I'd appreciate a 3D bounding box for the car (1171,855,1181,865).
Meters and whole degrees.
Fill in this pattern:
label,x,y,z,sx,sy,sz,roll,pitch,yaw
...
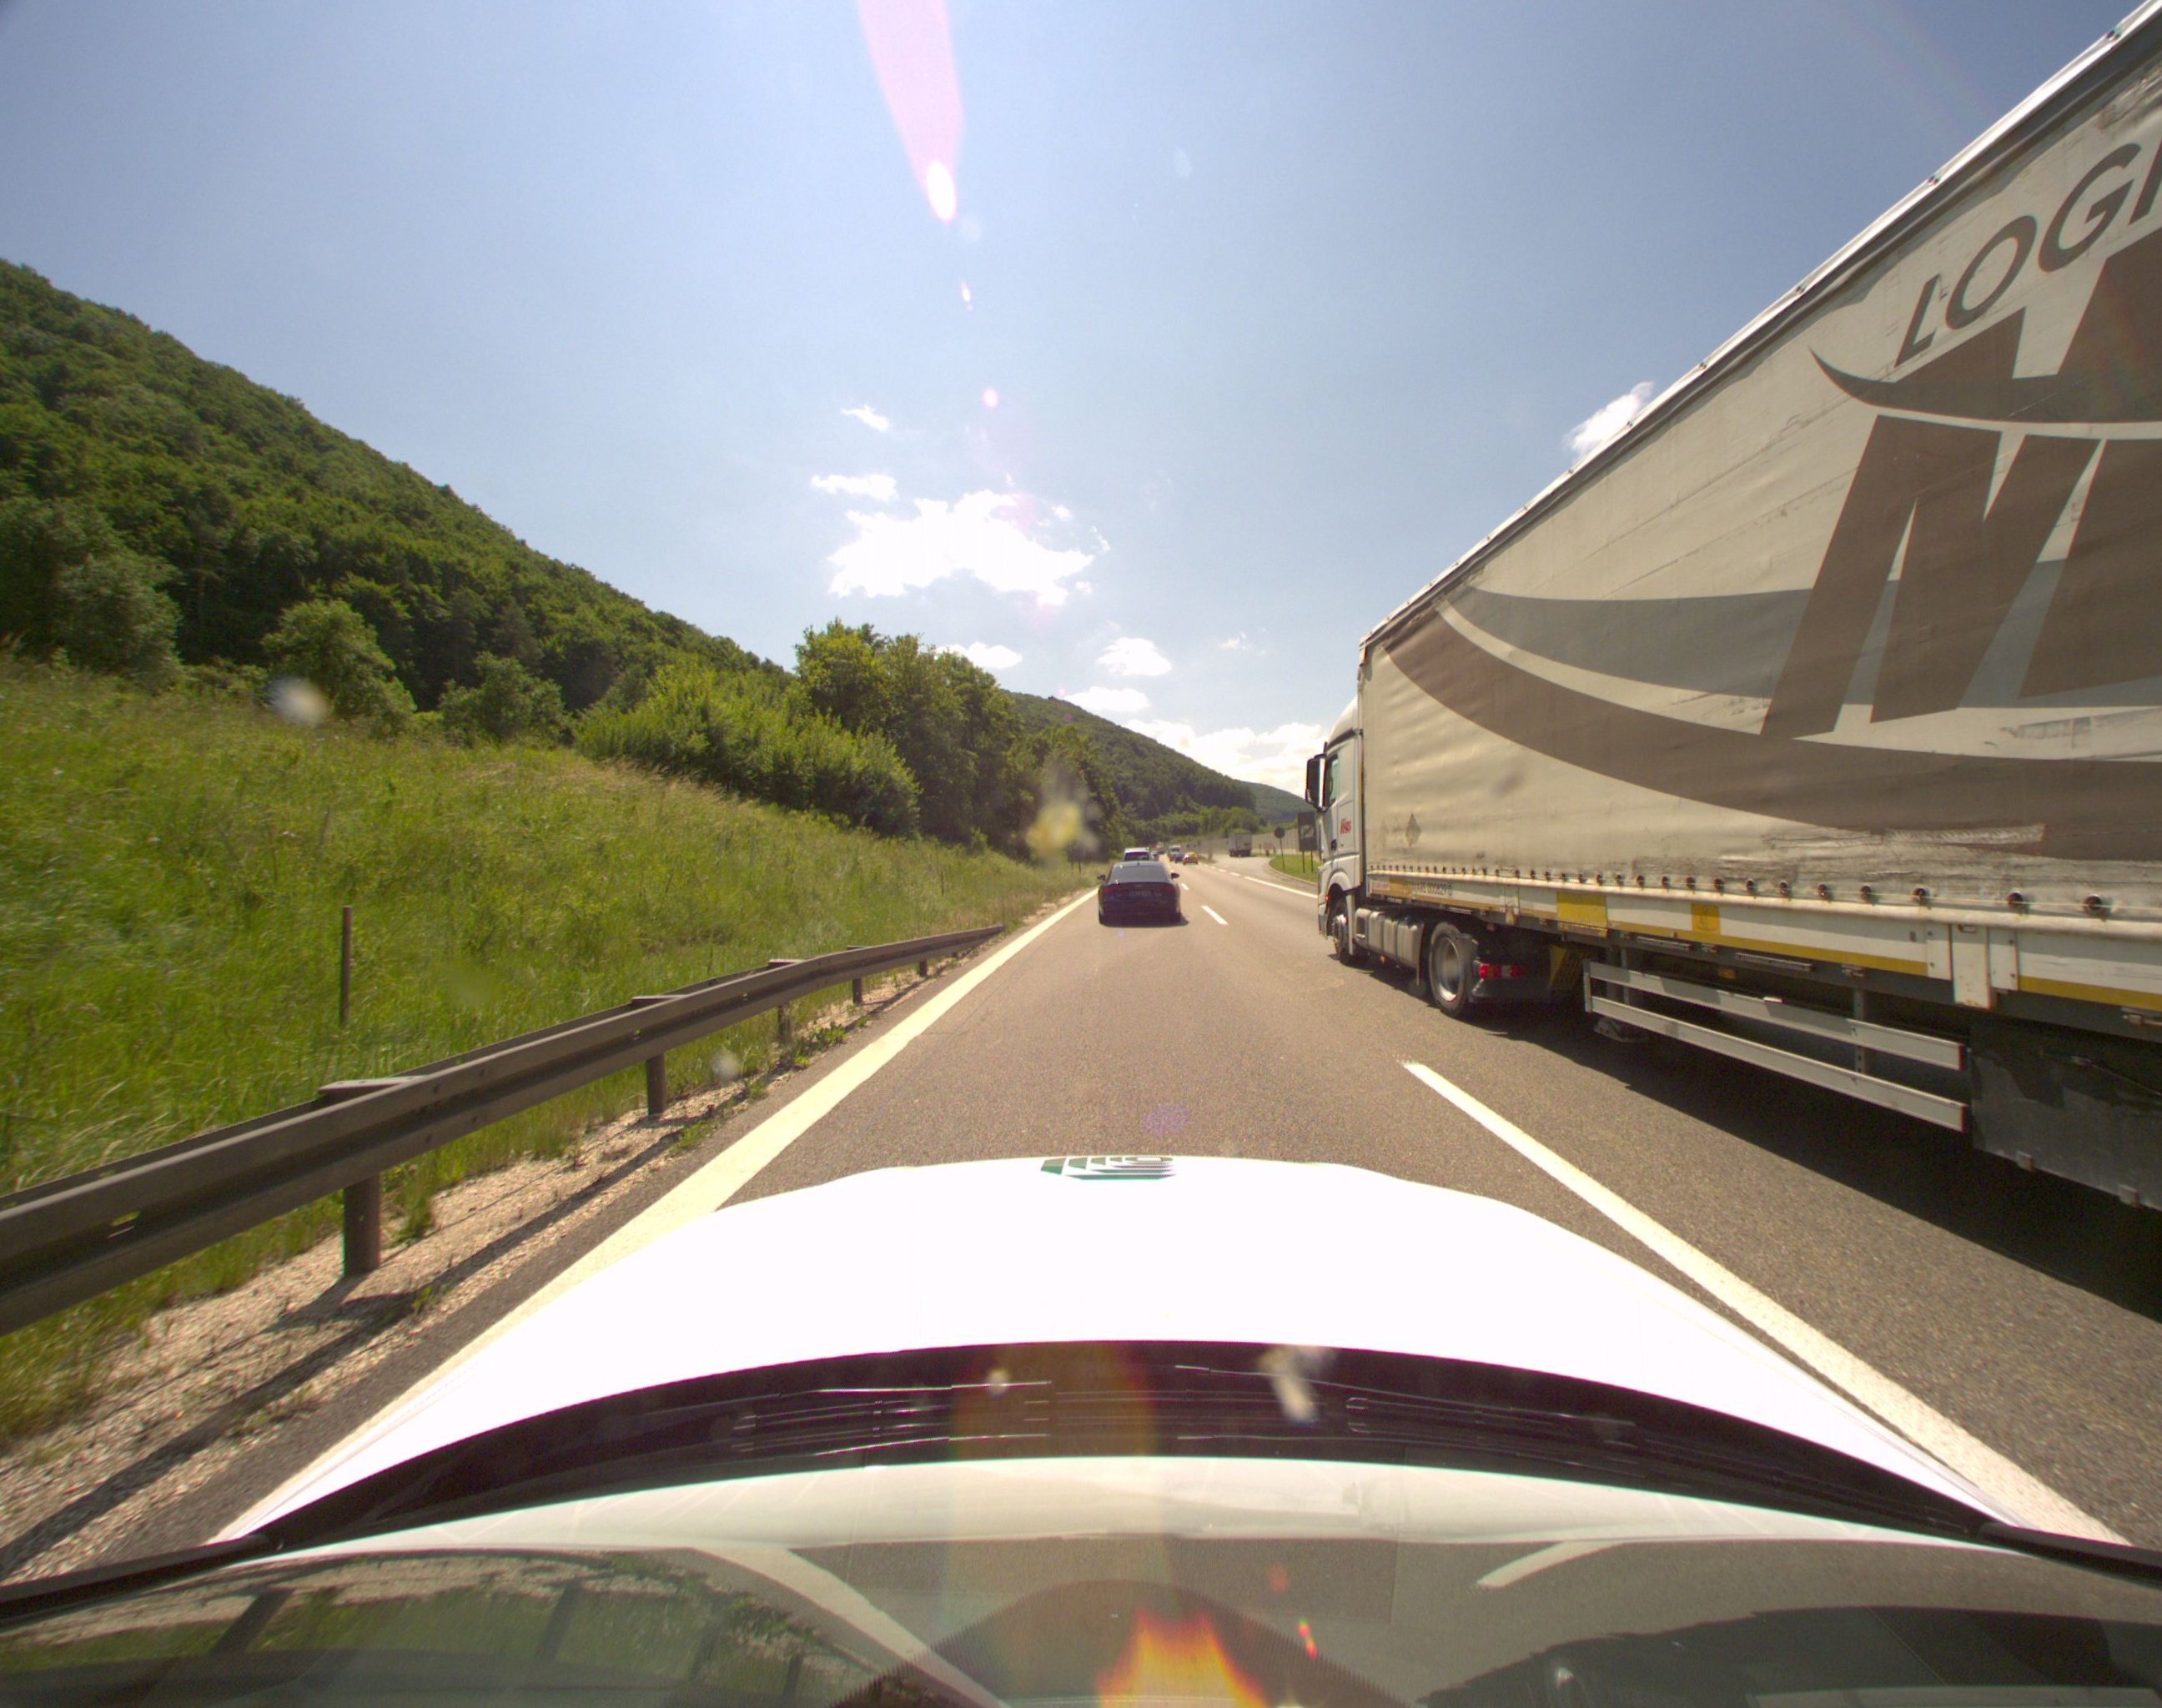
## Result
label,x,y,z,sx,sy,sz,roll,pitch,yaw
car,15.925,1.034,136.556,1.522,1.525,3.602,-1,-1,6

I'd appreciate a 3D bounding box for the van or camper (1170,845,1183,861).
label,x,y,z,sx,sy,sz,roll,pitch,yaw
van or camper,19.334,-0.085,165.046,2.417,3.155,5.211,-1,-1,6

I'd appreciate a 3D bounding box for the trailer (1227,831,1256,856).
label,x,y,z,sx,sy,sz,roll,pitch,yaw
trailer,26.985,-1.762,137.432,3.395,3.900,11.167,-2,0,5

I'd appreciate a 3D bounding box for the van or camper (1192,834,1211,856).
label,x,y,z,sx,sy,sz,roll,pitch,yaw
van or camper,21.752,-1.517,147.267,2.782,3.841,6.173,-1,-1,4

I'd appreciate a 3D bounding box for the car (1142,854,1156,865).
label,x,y,z,sx,sy,sz,roll,pitch,yaw
car,7.904,0.670,94.707,1.515,1.294,3.517,0,0,3

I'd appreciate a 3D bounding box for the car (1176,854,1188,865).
label,x,y,z,sx,sy,sz,roll,pitch,yaw
car,14.438,0.828,116.707,1.522,1.525,3.602,-1,-1,6

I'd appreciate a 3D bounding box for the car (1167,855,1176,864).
label,x,y,z,sx,sy,sz,roll,pitch,yaw
car,21.395,1.336,192.867,1.984,2.014,4.005,-1,-1,5

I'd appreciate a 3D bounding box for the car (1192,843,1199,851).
label,x,y,z,sx,sy,sz,roll,pitch,yaw
car,31.844,-2.007,226.412,1.568,2.013,3.433,-3,0,6

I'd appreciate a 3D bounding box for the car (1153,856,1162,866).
label,x,y,z,sx,sy,sz,roll,pitch,yaw
car,13.139,1.208,140.120,1.513,1.553,3.521,0,0,7

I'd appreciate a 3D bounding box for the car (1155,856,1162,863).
label,x,y,z,sx,sy,sz,roll,pitch,yaw
car,17.087,1.129,179.208,1.513,1.553,3.520,0,0,6

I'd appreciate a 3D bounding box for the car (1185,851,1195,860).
label,x,y,z,sx,sy,sz,roll,pitch,yaw
car,25.763,0.353,192.435,1.984,2.013,4.005,-2,0,5

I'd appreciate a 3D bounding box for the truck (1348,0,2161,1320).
label,x,y,z,sx,sy,sz,roll,pitch,yaw
truck,4.508,-0.685,3.091,2.716,4.068,13.744,-1,-1,1

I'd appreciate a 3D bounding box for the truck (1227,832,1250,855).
label,x,y,z,sx,sy,sz,roll,pitch,yaw
truck,27.502,-1.793,142.517,3.395,3.900,5.395,-2,0,5

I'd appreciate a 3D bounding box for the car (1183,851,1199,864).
label,x,y,z,sx,sy,sz,roll,pitch,yaw
car,13.763,0.428,102.244,1.869,1.499,4.006,-2,0,6

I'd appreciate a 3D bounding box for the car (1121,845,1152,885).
label,x,y,z,sx,sy,sz,roll,pitch,yaw
car,2.793,0.558,41.613,1.515,1.968,3.516,0,0,2

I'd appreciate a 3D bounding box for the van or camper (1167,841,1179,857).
label,x,y,z,sx,sy,sz,roll,pitch,yaw
van or camper,23.995,-1.250,213.559,2.782,3.907,6.173,-1,-1,4

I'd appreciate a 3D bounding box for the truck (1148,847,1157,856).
label,x,y,z,sx,sy,sz,roll,pitch,yaw
truck,19.952,-0.700,227.008,2.053,2.605,5.625,0,0,7

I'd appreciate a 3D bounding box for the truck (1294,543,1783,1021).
label,x,y,z,sx,sy,sz,roll,pitch,yaw
truck,4.680,-0.590,9.899,2.709,4.068,5.755,-1,-1,1

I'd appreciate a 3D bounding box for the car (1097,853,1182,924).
label,x,y,z,sx,sy,sz,roll,pitch,yaw
car,1.419,0.751,19.428,1.803,1.514,3.519,-1,0,5
